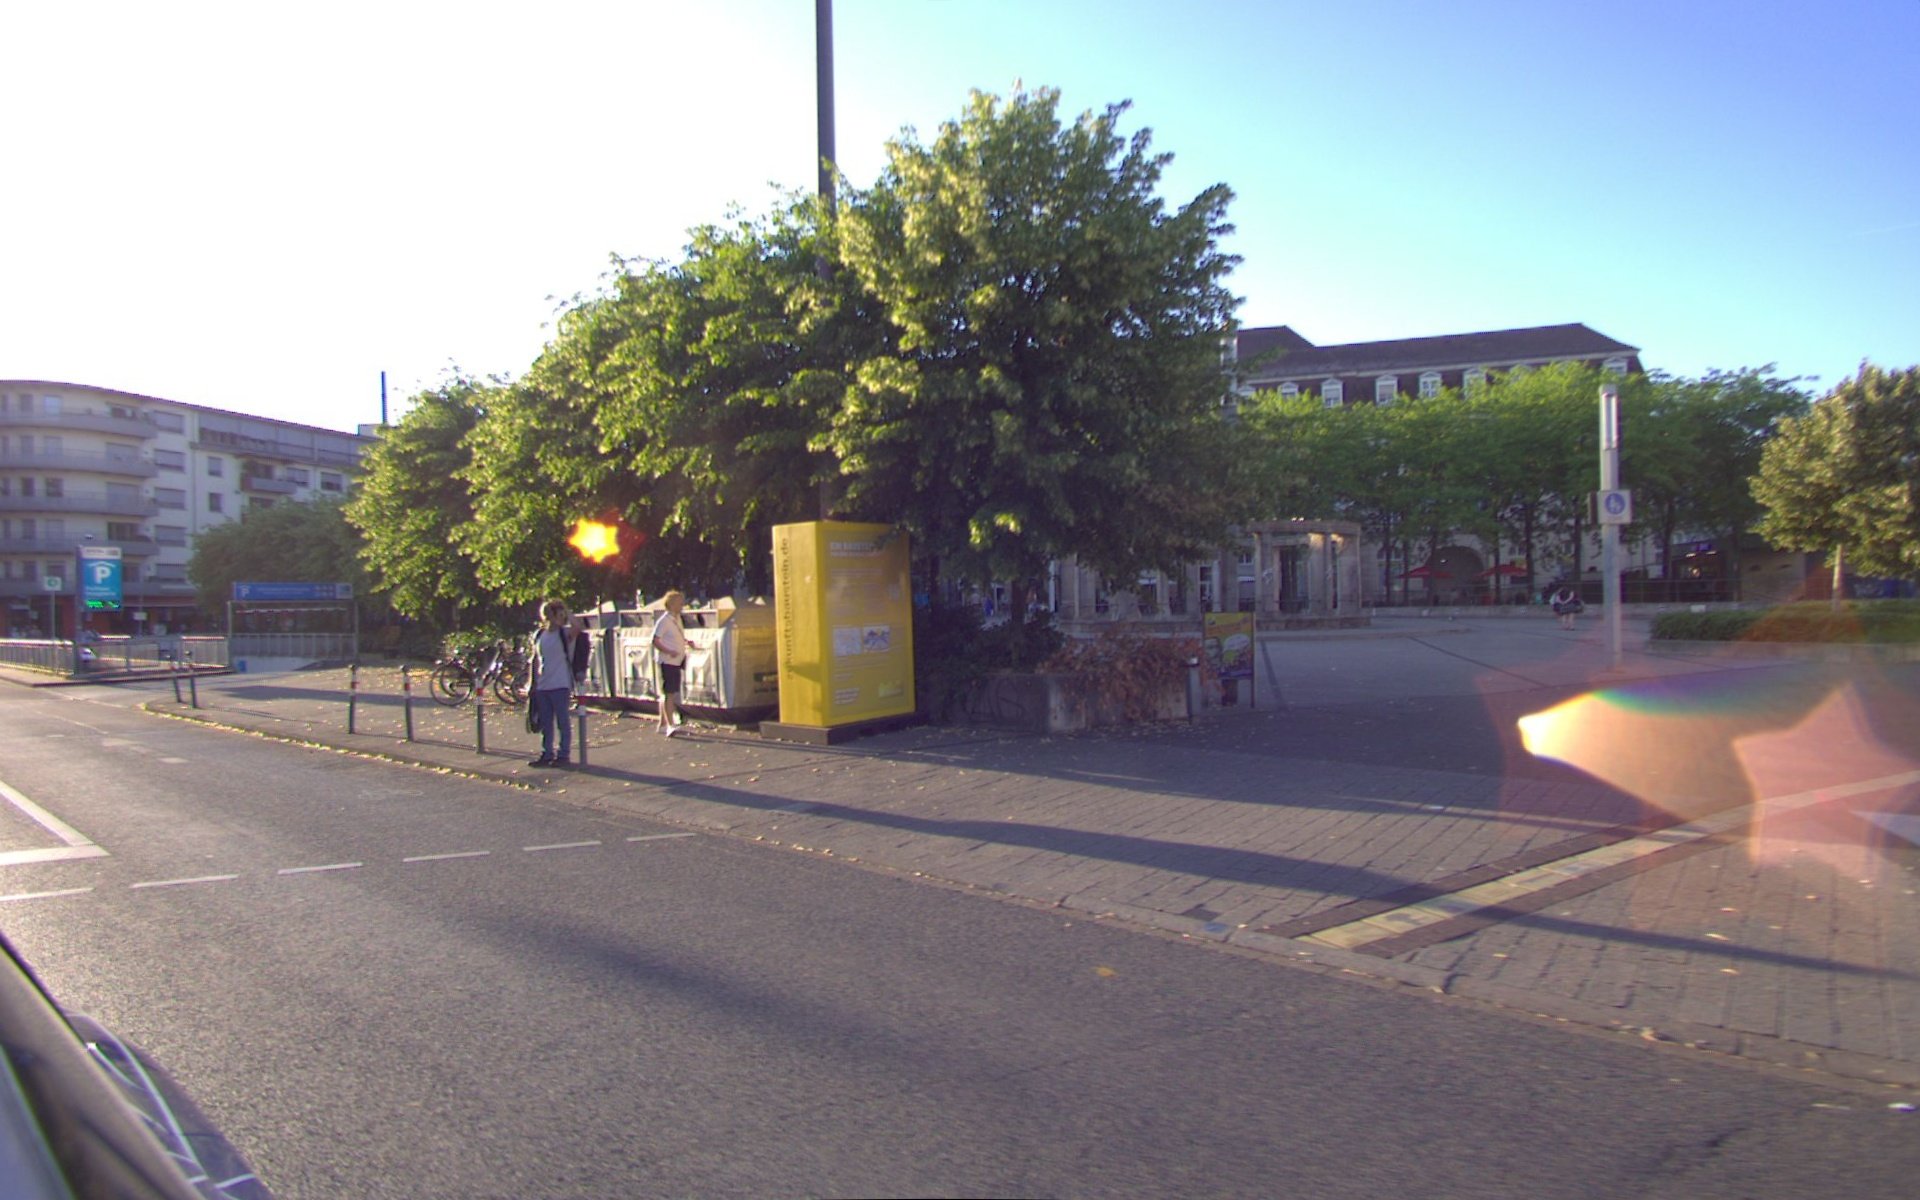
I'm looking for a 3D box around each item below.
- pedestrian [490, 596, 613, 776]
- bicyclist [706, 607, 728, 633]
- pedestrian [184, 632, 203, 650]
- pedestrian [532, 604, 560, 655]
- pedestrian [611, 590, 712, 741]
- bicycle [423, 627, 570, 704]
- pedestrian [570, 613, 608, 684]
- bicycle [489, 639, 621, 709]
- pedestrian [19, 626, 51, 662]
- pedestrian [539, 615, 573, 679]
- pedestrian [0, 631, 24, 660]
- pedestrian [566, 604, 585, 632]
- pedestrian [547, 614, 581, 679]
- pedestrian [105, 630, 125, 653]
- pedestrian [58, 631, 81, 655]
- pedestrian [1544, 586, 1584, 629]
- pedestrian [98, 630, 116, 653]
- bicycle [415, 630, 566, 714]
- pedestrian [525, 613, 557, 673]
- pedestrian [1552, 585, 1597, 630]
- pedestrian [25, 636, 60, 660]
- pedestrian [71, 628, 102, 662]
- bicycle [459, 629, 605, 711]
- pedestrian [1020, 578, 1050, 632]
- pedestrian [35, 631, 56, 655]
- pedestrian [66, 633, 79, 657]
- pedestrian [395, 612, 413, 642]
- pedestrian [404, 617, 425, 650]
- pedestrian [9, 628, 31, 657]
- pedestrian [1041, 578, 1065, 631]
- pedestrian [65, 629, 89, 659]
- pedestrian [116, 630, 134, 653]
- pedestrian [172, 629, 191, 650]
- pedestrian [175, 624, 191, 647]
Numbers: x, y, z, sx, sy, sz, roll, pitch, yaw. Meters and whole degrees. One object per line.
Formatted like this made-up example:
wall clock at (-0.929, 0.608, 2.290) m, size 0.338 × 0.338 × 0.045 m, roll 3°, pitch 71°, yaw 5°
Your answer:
pedestrian at (-4.182, 0.842, 10.390) m, size 0.712 × 1.733 × 0.876 m, roll -2°, pitch 0°, yaw 29°
bicyclist at (-14.714, 1.213, 61.192) m, size 0.741 × 1.521 × 1.384 m, roll -1°, pitch -1°, yaw -40°
pedestrian at (-57.359, 3.056, 75.751) m, size 0.840 × 1.287 × 0.715 m, roll -1°, pitch 2°, yaw -5°
pedestrian at (-16.695, 1.180, 40.798) m, size 0.899 × 2.029 × 0.922 m, roll -2°, pitch 0°, yaw -27°
pedestrian at (-3.582, 0.759, 12.187) m, size 0.754 × 1.733 × 0.865 m, roll -2°, pitch 0°, yaw 21°
bicycle at (-8.882, 1.225, 19.433) m, size 2.468 × 1.293 × 0.818 m, roll -2°, pitch 0°, yaw -29°
pedestrian at (-10.550, 1.357, 28.770) m, size 0.792 × 1.963 × 0.732 m, roll -1°, pitch -1°, yaw -37°
bicycle at (-6.940, 1.237, 17.425) m, size 0.635 × 0.978 × 2.023 m, roll -2°, pitch 1°, yaw 38°
pedestrian at (-49.557, 2.348, 54.246) m, size 0.977 × 1.898 × 0.884 m, roll -3°, pitch -2°, yaw 19°
pedestrian at (-12.819, 1.482, 32.111) m, size 0.792 × 1.963 × 0.732 m, roll -1°, pitch -1°, yaw -37°
pedestrian at (-60.988, 2.940, 65.059) m, size 0.845 × 1.807 × 0.864 m, roll -3°, pitch -2°, yaw 19°
pedestrian at (-24.281, 1.117, 63.953) m, size 0.696 × 1.740 × 0.916 m, roll -2°, pitch -1°, yaw 15°
pedestrian at (-12.210, 1.426, 31.215) m, size 0.792 × 1.963 × 0.732 m, roll -1°, pitch -1°, yaw -37°
pedestrian at (-58.817, 2.884, 70.429) m, size 0.707 × 1.547 × 0.756 m, roll 2°, pitch 0°, yaw 13°
pedestrian at (-59.527, 2.846, 67.654) m, size 0.709 × 1.547 × 0.848 m, roll 3°, pitch 0°, yaw 18°
pedestrian at (21.439, 0.265, 35.964) m, size 0.938 × 1.512 × 0.842 m, roll -1°, pitch -1°, yaw 11°
pedestrian at (-59.680, 2.916, 70.797) m, size 0.669 × 1.547 × 0.652 m, roll 1°, pitch -1°, yaw 14°
bicycle at (-8.233, 1.225, 17.863) m, size 0.517 × 1.246 × 2.408 m, roll -2°, pitch 1°, yaw 38°
pedestrian at (-14.003, 1.421, 33.827) m, size 0.792 × 1.963 × 0.732 m, roll -1°, pitch -1°, yaw -37°
pedestrian at (21.228, 0.250, 34.986) m, size 0.978 × 1.512 × 0.978 m, roll -1°, pitch -1°, yaw 9°
pedestrian at (-60.612, 3.171, 66.891) m, size 0.711 × 0.691 × 1.530 m, roll 1°, pitch 43°, yaw 28°
pedestrian at (-48.596, 2.508, 56.304) m, size 0.968 × 1.807 × 0.892 m, roll -2°, pitch -1°, yaw -14°
bicycle at (-7.445, 1.180, 17.739) m, size 0.462 × 1.246 × 2.407 m, roll -2°, pitch 0°, yaw 38°
pedestrian at (2.786, 0.186, 37.516) m, size 0.792 × 1.963 × 0.731 m, roll -1°, pitch -1°, yaw -42°
pedestrian at (-61.118, 2.845, 67.644) m, size 0.702 × 1.547 × 0.855 m, roll -2°, pitch -2°, yaw -18°
pedestrian at (-60.703, 3.071, 69.258) m, size 0.638 × 1.547 × 0.754 m, roll -1°, pitch -1°, yaw -41°
pedestrian at (-33.038, 1.593, 60.135) m, size 0.676 × 1.759 × 0.718 m, roll -2°, pitch -1°, yaw -13°
pedestrian at (-32.248, 1.959, 59.828) m, size 0.709 × 1.889 × 0.776 m, roll -3°, pitch -2°, yaw 20°
pedestrian at (-59.896, 2.680, 64.474) m, size 0.806 × 1.807 × 0.732 m, roll -3°, pitch -2°, yaw 19°
pedestrian at (3.519, 0.169, 38.264) m, size 0.793 × 1.963 × 0.730 m, roll -2°, pitch -1°, yaw 1°
pedestrian at (-56.288, 2.807, 64.515) m, size 0.707 × 1.816 × 0.879 m, roll -3°, pitch -1°, yaw 12°
pedestrian at (-58.784, 2.899, 71.218) m, size 0.644 × 1.539 × 0.697 m, roll 2°, pitch 0°, yaw 13°
pedestrian at (-58.221, 2.932, 75.678) m, size 0.840 × 1.547 × 0.715 m, roll -2°, pitch -1°, yaw -5°
pedestrian at (-59.513, 2.716, 77.510) m, size 0.712 × 1.734 × 0.665 m, roll -2°, pitch -1°, yaw 15°
